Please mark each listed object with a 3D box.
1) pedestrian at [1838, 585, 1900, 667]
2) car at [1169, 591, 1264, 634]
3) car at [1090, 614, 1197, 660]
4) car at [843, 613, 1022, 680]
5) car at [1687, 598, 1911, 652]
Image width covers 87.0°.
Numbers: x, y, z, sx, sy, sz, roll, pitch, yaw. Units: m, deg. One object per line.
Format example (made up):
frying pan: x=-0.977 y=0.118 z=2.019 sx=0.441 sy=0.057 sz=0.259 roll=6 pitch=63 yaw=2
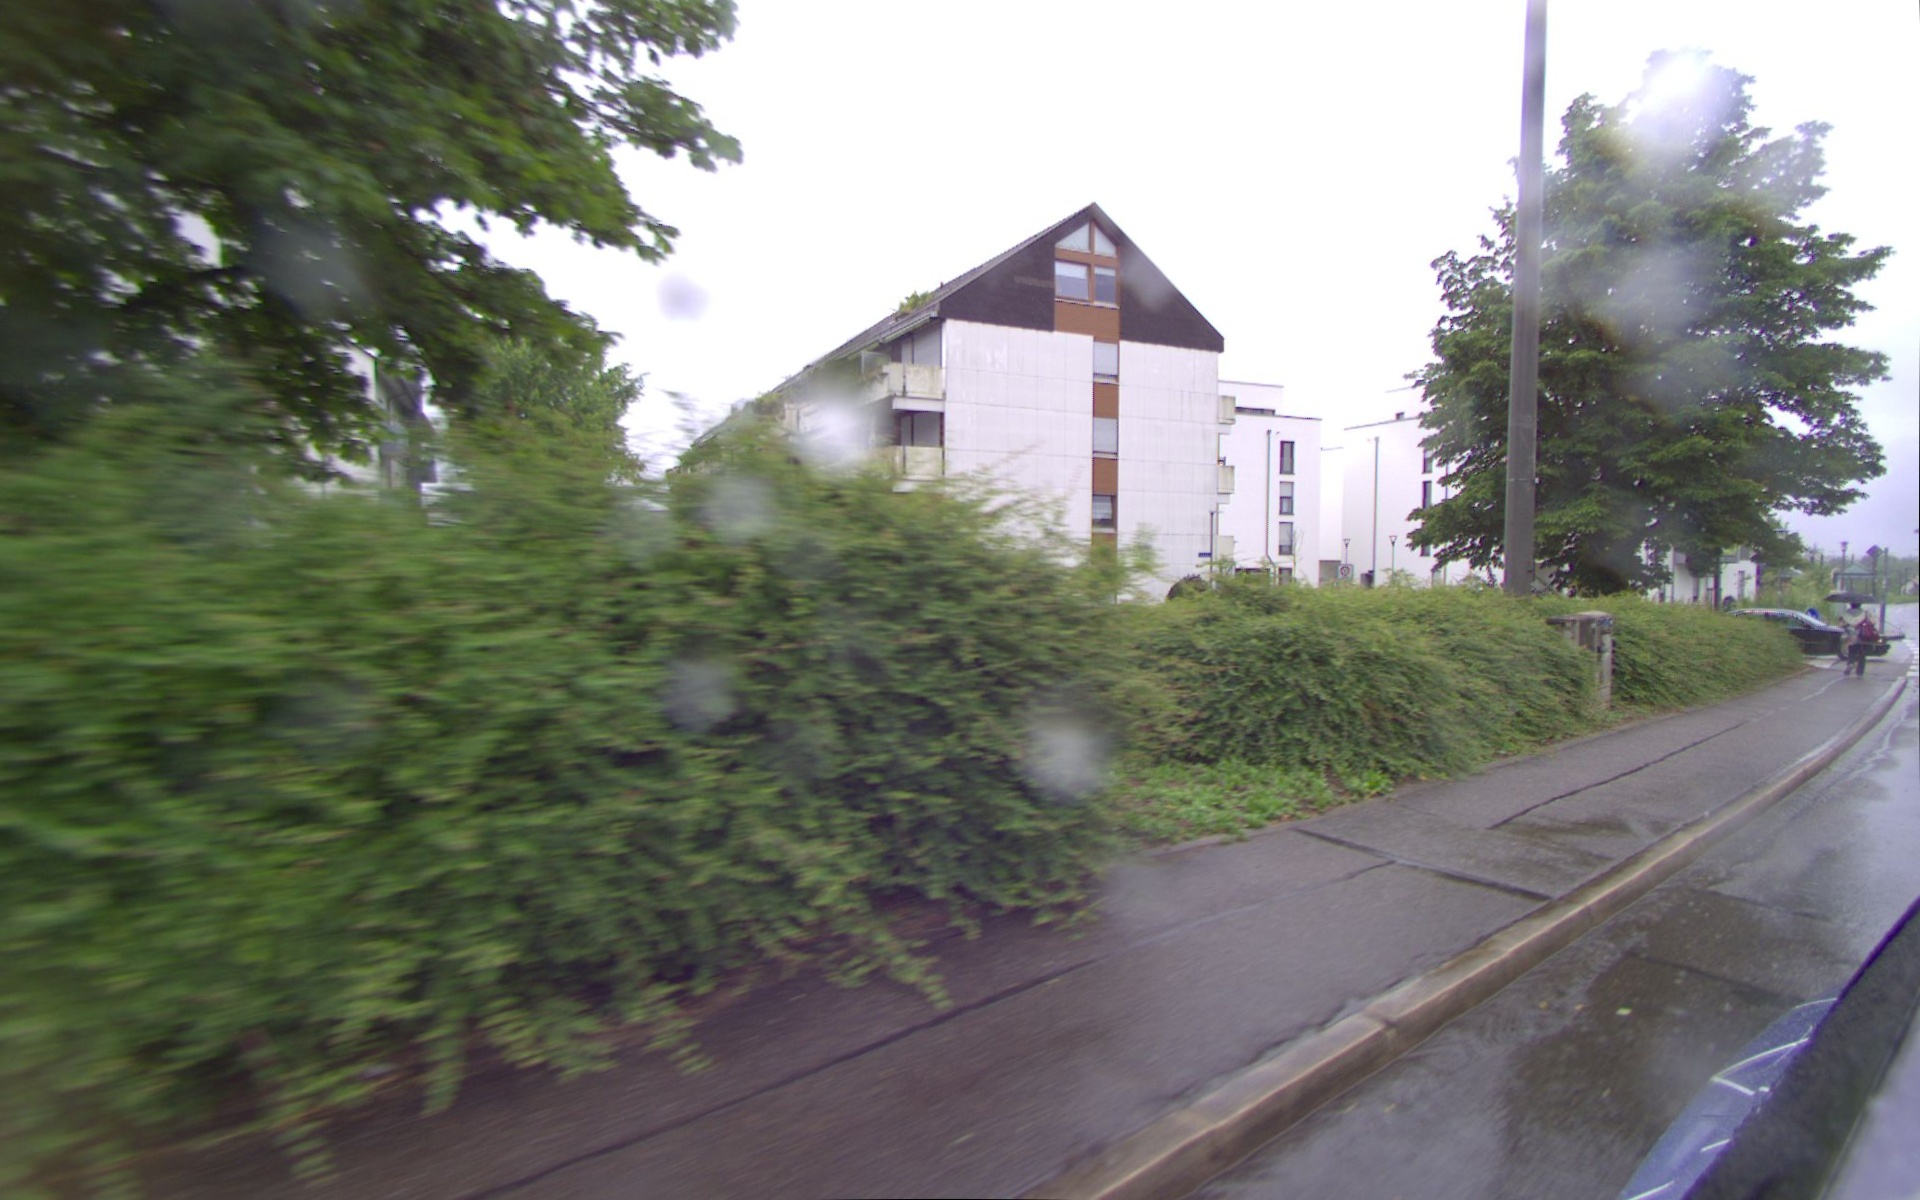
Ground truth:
pedestrian: x=17.949 y=0.496 z=19.984 sx=0.858 sy=1.544 sz=0.770 roll=1 pitch=2 yaw=-42
car: x=11.378 y=0.520 z=45.094 sx=1.729 sy=1.771 sz=4.002 roll=-2 pitch=1 yaw=-32
car: x=6.105 y=1.203 z=34.033 sx=1.633 sy=1.428 sz=3.667 roll=-1 pitch=-1 yaw=-26
car: x=-0.635 y=1.047 z=24.313 sx=3.925 sy=1.483 sz=1.923 roll=0 pitch=-1 yaw=-36
car: x=24.374 y=0.735 z=29.566 sx=1.777 sy=1.432 sz=4.802 roll=-1 pitch=-1 yaw=-42
